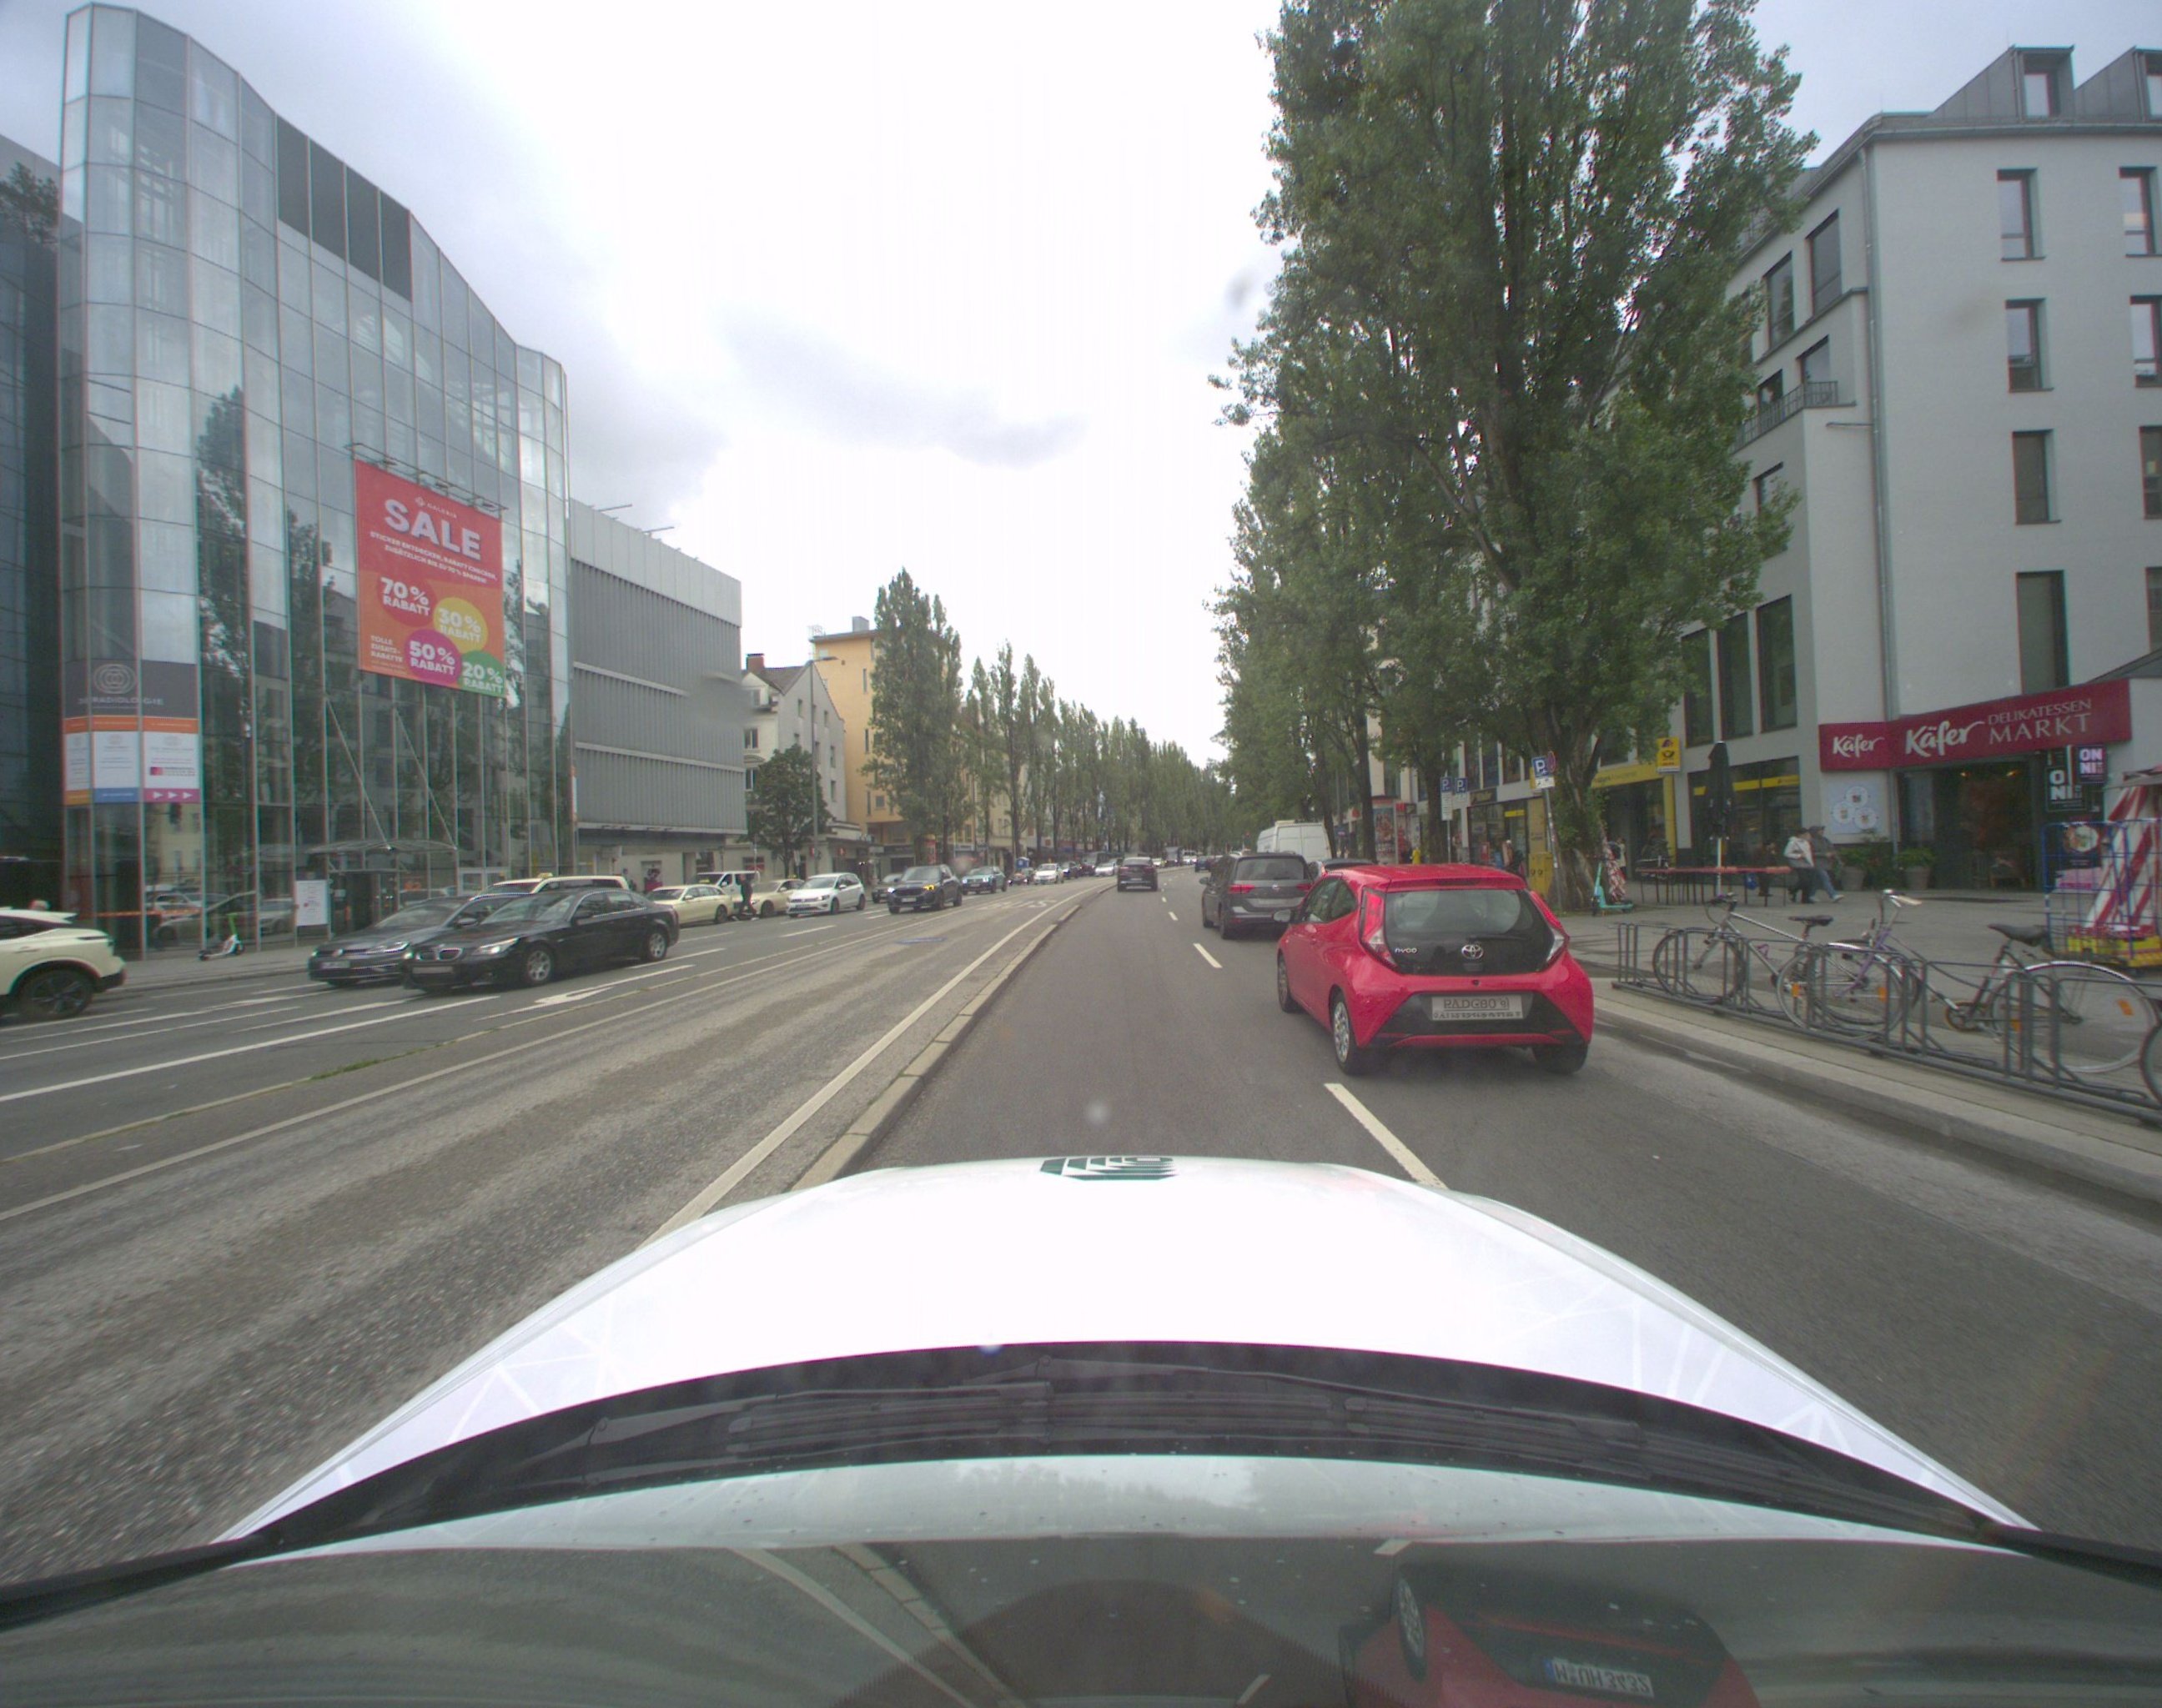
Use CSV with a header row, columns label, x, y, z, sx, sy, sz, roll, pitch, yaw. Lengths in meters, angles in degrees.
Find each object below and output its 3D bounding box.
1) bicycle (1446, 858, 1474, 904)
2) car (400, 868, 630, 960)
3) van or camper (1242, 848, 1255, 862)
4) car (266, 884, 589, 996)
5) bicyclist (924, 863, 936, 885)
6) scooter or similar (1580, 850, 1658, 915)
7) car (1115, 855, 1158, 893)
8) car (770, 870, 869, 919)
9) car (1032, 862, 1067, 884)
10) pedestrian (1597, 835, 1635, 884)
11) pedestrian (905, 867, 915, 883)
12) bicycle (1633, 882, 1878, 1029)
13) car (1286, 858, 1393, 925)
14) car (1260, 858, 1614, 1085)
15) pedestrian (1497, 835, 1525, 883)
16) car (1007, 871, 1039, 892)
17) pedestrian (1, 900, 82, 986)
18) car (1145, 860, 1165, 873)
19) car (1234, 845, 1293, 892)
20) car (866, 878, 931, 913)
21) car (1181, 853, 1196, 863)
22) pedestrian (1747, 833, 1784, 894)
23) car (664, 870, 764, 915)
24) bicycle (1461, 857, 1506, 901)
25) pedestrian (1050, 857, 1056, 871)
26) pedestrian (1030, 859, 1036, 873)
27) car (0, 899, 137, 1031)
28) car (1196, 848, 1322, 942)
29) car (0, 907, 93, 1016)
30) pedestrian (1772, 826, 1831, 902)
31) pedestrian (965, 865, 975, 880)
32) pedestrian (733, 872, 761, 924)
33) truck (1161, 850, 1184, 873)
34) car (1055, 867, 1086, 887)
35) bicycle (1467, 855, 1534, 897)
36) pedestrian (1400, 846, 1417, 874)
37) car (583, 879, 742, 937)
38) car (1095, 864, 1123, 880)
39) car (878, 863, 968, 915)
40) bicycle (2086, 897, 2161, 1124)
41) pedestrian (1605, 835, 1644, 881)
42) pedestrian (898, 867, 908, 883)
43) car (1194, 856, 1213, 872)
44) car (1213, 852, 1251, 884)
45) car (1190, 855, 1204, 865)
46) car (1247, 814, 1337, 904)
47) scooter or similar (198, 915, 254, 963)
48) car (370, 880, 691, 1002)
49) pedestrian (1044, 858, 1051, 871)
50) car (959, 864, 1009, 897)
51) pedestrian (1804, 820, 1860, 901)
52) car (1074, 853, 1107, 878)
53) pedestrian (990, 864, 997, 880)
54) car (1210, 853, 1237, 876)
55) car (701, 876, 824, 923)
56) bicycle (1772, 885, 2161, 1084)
label,x,y,z,sx,sy,sz,roll,pitch,yaw
bicycle,10.314,0.715,22.207,0.473,1.160,1.834,-2,0,19
car,-14.746,1.460,21.746,1.984,2.013,5.329,-3,-1,5
van or camper,31.616,0.252,153.626,2.019,2.476,4.015,-2,-2,15
car,-12.018,1.482,15.576,1.951,1.546,4.951,-3,-1,3
bicyclist,-11.341,1.489,61.045,0.498,1.592,0.838,-3,-1,15
scooter or similar,10.856,0.568,16.430,1.468,1.207,0.398,-3,-1,-16
car,2.747,0.915,39.544,1.871,1.642,4.589,-3,-1,5
car,-9.940,1.501,31.359,1.983,1.600,4.297,-3,-1,6
car,-2.417,1.454,63.268,1.942,1.589,4.010,-3,-1,9
pedestrian,17.705,0.184,26.983,0.688,1.585,0.773,-3,-1,2
pedestrian,-15.371,1.878,73.166,0.630,1.435,0.778,-3,-1,1
bicycle,5.743,0.812,7.024,1.556,1.054,0.550,2,1,40
car,6.204,0.834,19.982,1.716,1.454,4.154,0,0,6
car,2.674,0.792,7.042,1.658,1.446,3.599,-1,-1,4
pedestrian,16.219,0.186,30.740,0.712,1.724,0.744,-4,-1,39
car,-4.652,2.207,65.921,1.774,1.466,4.008,-3,-1,7
pedestrian,-23.115,1.973,18.116,0.783,1.805,0.821,-3,-1,14
car,10.308,1.771,112.885,1.980,1.589,5.213,-4,-1,12
car,7.544,0.571,34.106,1.919,1.805,4.788,-1,-1,7
car,-9.056,2.032,40.833,1.721,1.409,4.695,-3,0,5
car,18.522,0.675,140.290,1.847,1.711,4.554,-4,-1,15
pedestrian,16.790,0.233,19.987,0.641,1.476,0.764,-2,-2,40
car,-18.778,1.908,41.987,1.981,2.013,5.128,-3,0,11
bicycle,11.189,0.685,22.687,0.475,1.160,1.634,-2,0,3
pedestrian,-3.812,1.420,111.940,0.633,1.862,0.650,-3,-1,15
pedestrian,-6.131,1.545,104.073,0.633,1.700,0.650,-3,-1,15
car,-15.654,1.596,10.309,1.872,1.698,4.398,-4,-1,13
car,3.447,0.744,16.518,1.754,1.614,4.186,-1,-1,2
car,-17.822,1.741,11.819,1.759,1.616,4.016,-3,-1,14
pedestrian,15.568,0.218,17.609,0.638,1.583,0.636,-3,-1,10
pedestrian,-11.576,1.958,84.996,0.629,1.561,0.819,-3,-1,16
pedestrian,-12.428,1.609,30.301,0.791,1.867,0.839,-2,-1,-29
truck,14.345,1.092,127.396,2.274,3.323,7.185,-4,-1,15
car,-0.950,2.166,77.876,2.005,1.716,4.997,-3,-1,10
bicycle,12.201,0.643,23.733,1.616,1.160,0.708,-2,-1,15
pedestrian,18.884,0.331,46.942,0.565,1.576,0.672,-2,-1,-21
car,-13.862,1.731,27.436,1.965,1.552,5.101,-3,-1,11
car,2.887,1.837,83.734,1.786,1.394,4.709,-3,-1,15
car,-5.632,1.205,29.638,1.984,1.621,4.419,-4,-1,5
bicycle,5.759,0.776,3.489,0.369,1.054,1.780,0,1,-44
pedestrian,18.658,0.136,27.961,0.762,1.535,0.709,-3,-1,1
pedestrian,-15.987,1.889,73.214,0.630,1.435,0.778,-3,-1,1
car,12.873,1.048,85.582,1.748,1.619,3.758,-1,-1,11
car,8.489,0.778,45.969,1.718,1.686,4.415,-1,-1,6
car,21.445,1.111,150.297,1.925,1.642,4.481,-3,-1,14
car,7.061,0.203,27.868,1.985,2.742,5.560,-1,-1,4
scooter or similar,-22.841,2.250,21.782,0.367,1.140,1.373,-2,-1,-17
car,-8.841,1.305,13.746,1.827,1.487,4.741,-3,0,5
pedestrian,-4.632,1.435,111.980,0.633,1.862,0.650,-3,-1,15
car,-5.281,1.423,44.856,1.808,1.545,4.006,-5,-1,5
pedestrian,16.223,0.135,17.604,0.576,1.701,0.598,-3,-1,10
car,1.129,1.198,90.125,2.154,2.605,6.086,-3,-1,14
pedestrian,-9.715,1.952,90.510,0.535,1.747,0.758,-2,-1,15
car,10.925,0.794,62.178,1.912,1.700,4.664,-1,-1,11
car,-12.664,1.772,32.822,1.842,1.469,5.003,-5,-1,16
bicycle,5.851,0.794,5.500,1.779,1.054,0.550,2,1,40
